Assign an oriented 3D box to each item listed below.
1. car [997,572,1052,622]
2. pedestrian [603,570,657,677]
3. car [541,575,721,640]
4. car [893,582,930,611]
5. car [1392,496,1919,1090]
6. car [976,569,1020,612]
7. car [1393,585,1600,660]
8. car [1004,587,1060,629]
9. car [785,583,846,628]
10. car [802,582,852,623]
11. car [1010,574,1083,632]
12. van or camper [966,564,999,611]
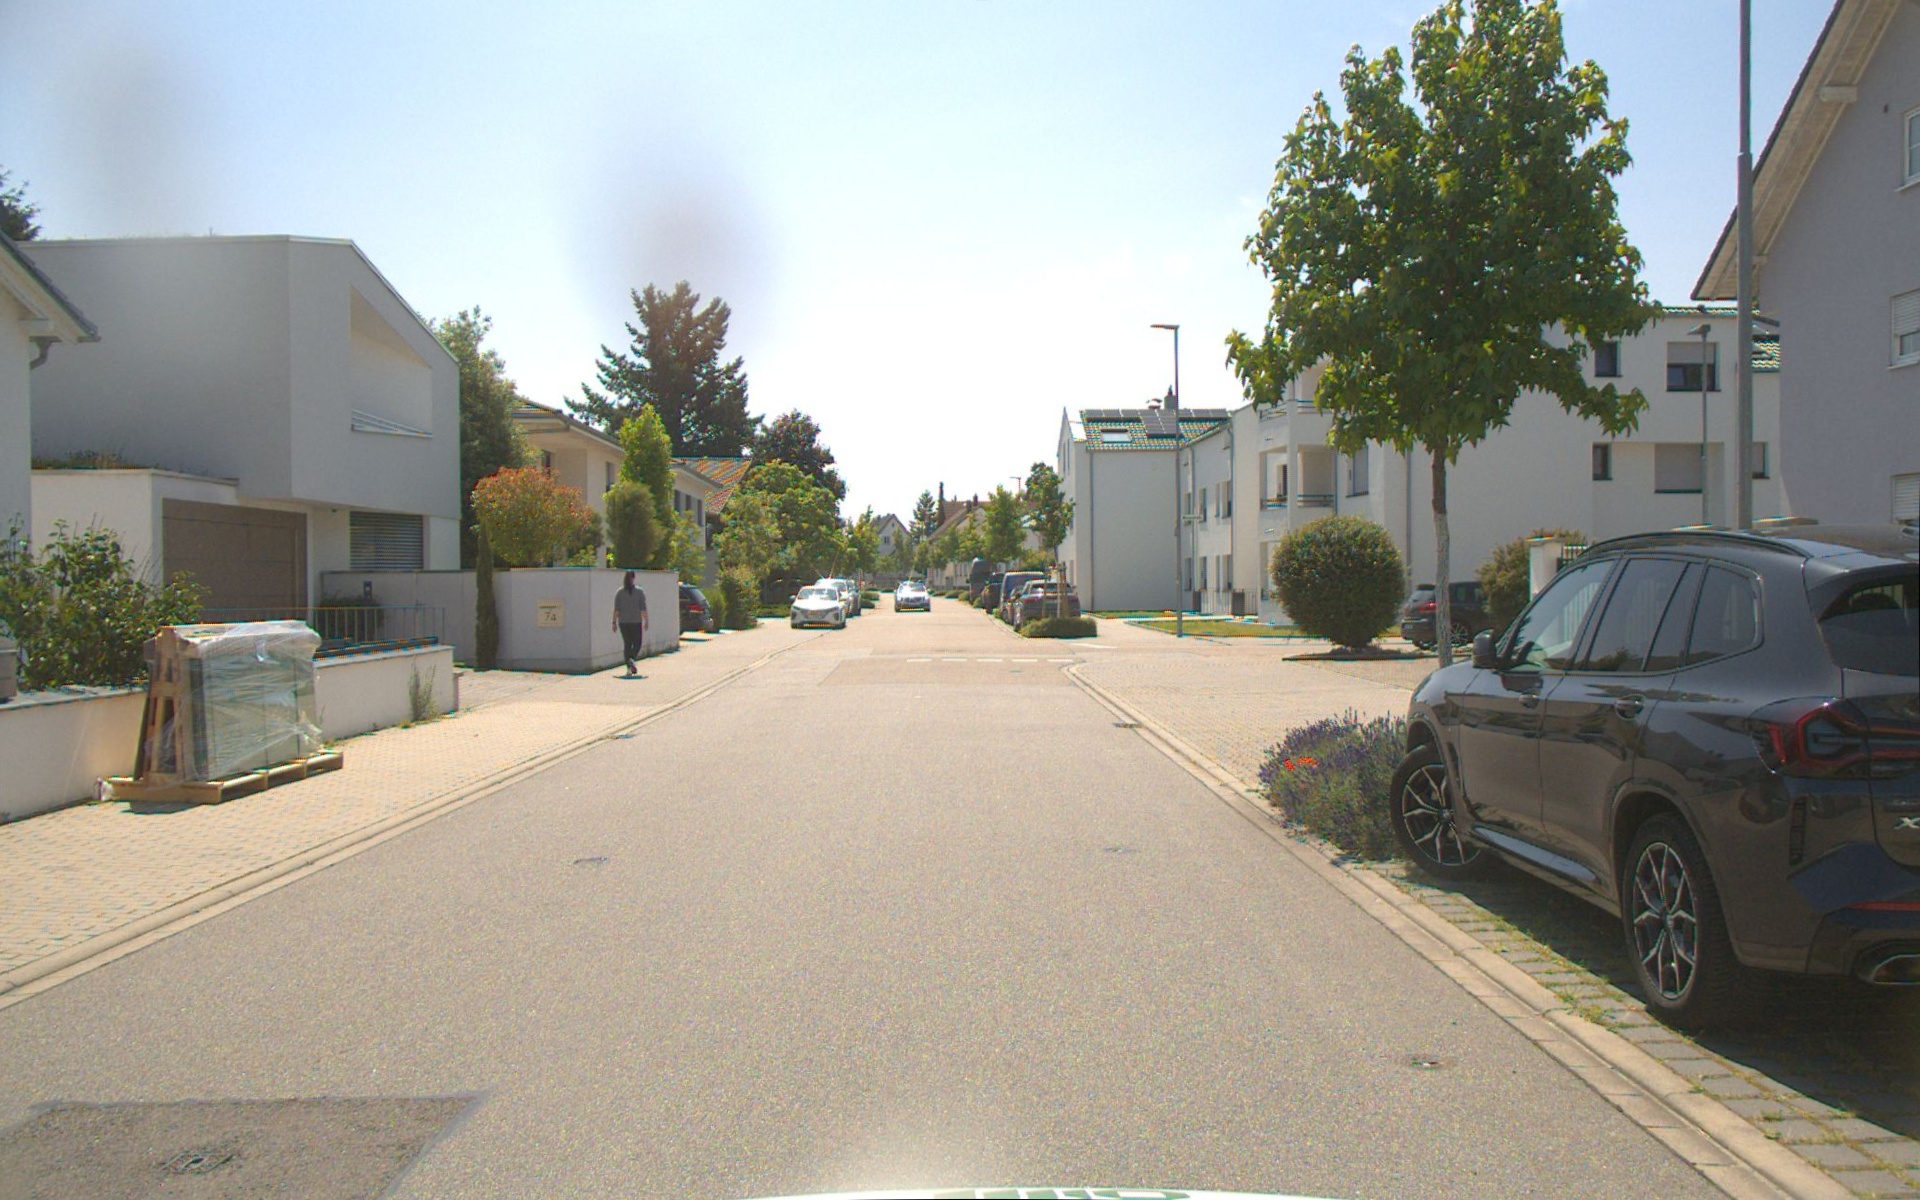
[{"bbox_3d":[2.579,-0.135,67.237,2.056,1.914,4.843,-1,1,0],"label":"car"},{"bbox_3d":[-5.597,0.387,28.106,0.700,1.777,0.961,-1,0,-1],"label":"pedestrian"},{"bbox_3d":[-8.788,0.189,44.401,4.336,1.499,1.851,3,1,3],"label":"car"},{"bbox_3d":[-2.592,-0.197,89.265,1.814,1.504,4.701,-1,1,1],"label":"car"},{"bbox_3d":[3.309,0.489,6.978,1.777,1.685,4.564,-1,1,0],"label":"car"},{"bbox_3d":[1.826,-0.469,81.512,1.953,1.981,5.214,-2,1,-1],"label":"car"},{"bbox_3d":[11.388,0.458,35.336,3.907,1.493,1.757,-1,1,5],"label":"car"},{"bbox_3d":[2.593,0.265,60.523,1.646,1.467,4.024,-1,1,-3],"label":"car"},{"bbox_3d":[-5.090,0.167,58.833,1.814,1.514,4.385,-1,1,-1],"label":"car"},{"bbox_3d":[-5.912,0.083,74.025,1.888,1.716,4.498,-1,1,-1],"label":"car"},{"bbox_3d":[2.577,0.075,50.354,1.738,1.623,4.277,-2,1,-3],"label":"car"},{"bbox_3d":[1.422,-0.814,106.290,1.953,2.993,3.999,0,0,-1],"label":"van or camper"}]
